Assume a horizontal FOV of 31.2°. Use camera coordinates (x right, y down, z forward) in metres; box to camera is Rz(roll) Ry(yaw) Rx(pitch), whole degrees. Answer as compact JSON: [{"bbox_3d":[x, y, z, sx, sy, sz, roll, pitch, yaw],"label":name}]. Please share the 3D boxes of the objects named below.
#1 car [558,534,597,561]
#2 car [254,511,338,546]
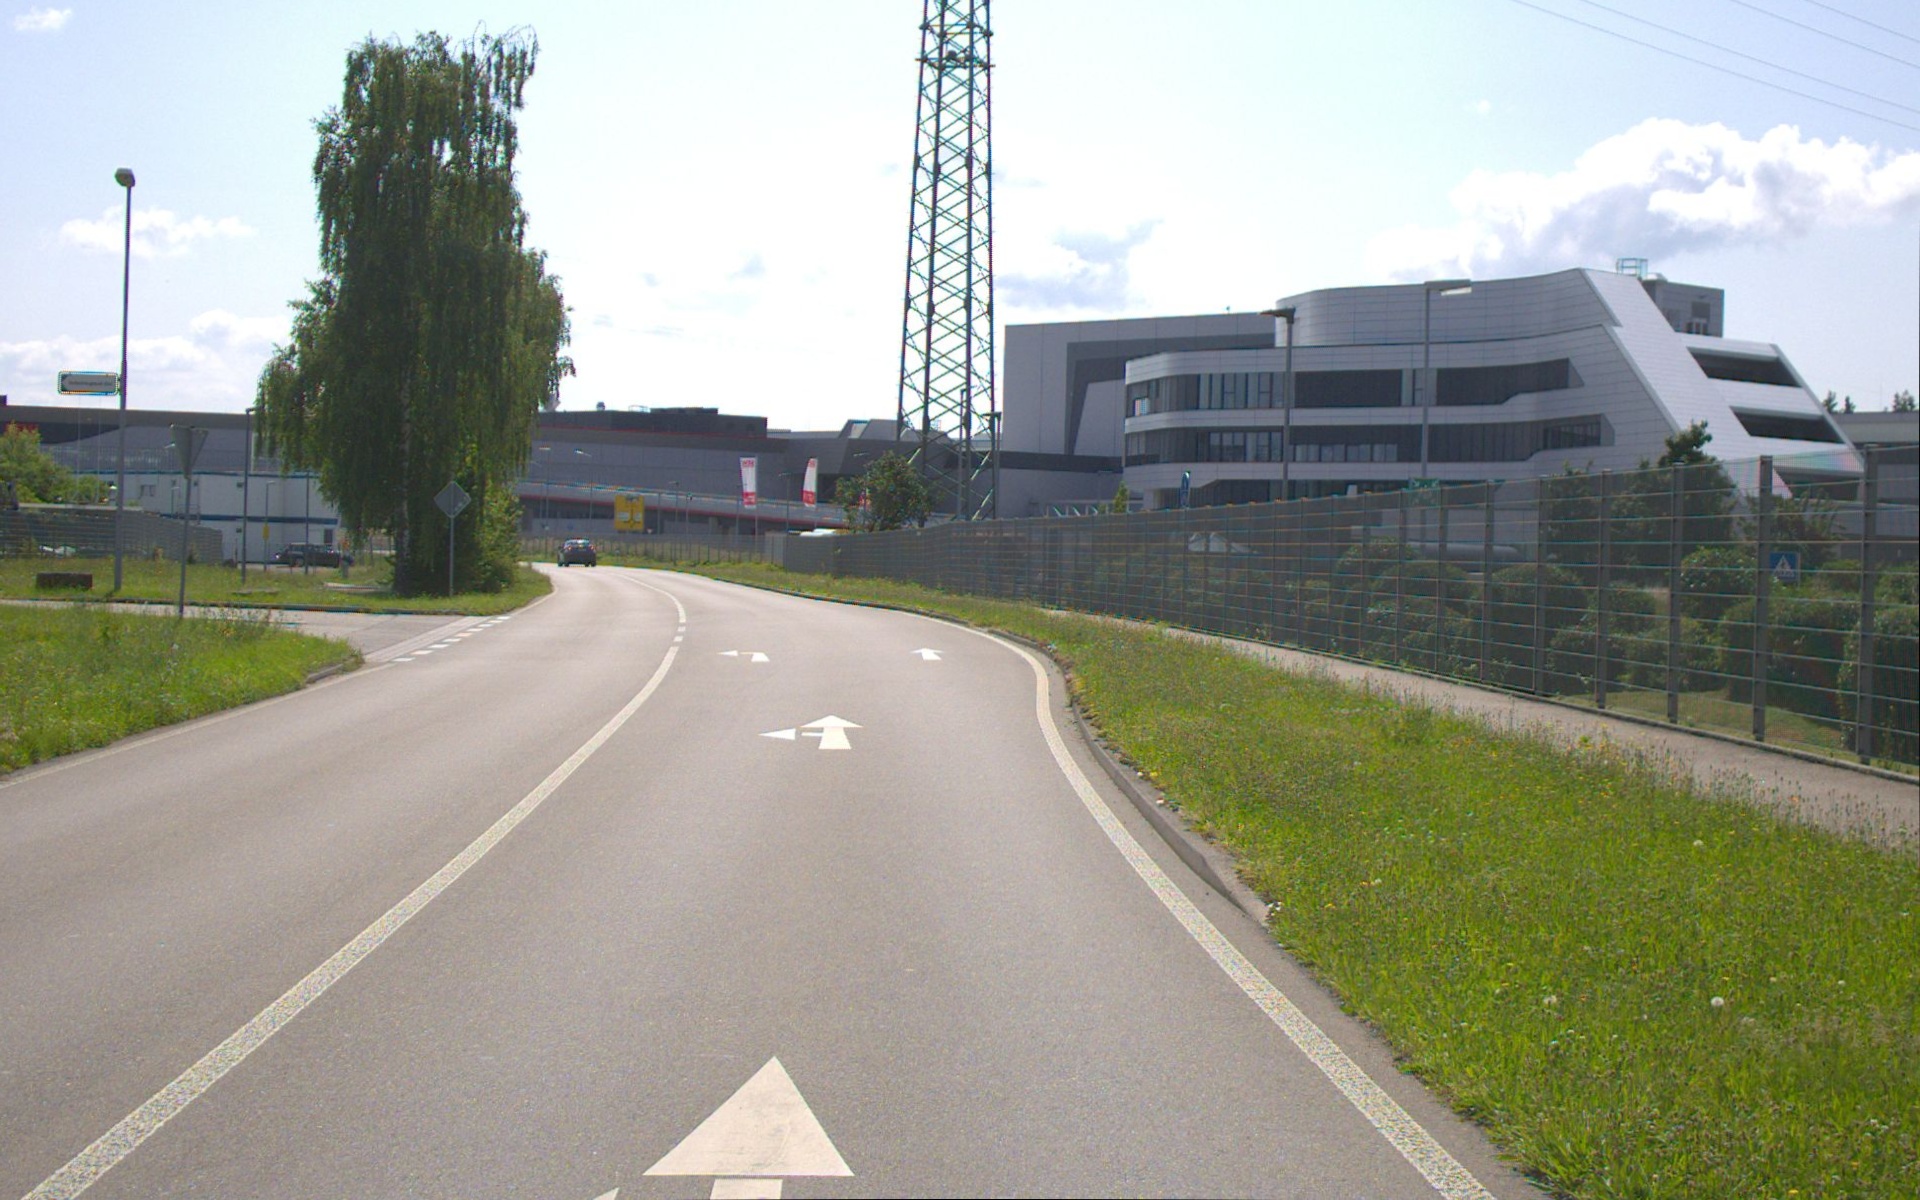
[{"bbox_3d":[-22.064,-3.041,198.434,2.012,1.503,4.001,2,1,-3],"label":"car"},{"bbox_3d":[-33.201,-3.579,172.027,3.986,1.568,2.001,2,1,-8],"label":"car"}]
